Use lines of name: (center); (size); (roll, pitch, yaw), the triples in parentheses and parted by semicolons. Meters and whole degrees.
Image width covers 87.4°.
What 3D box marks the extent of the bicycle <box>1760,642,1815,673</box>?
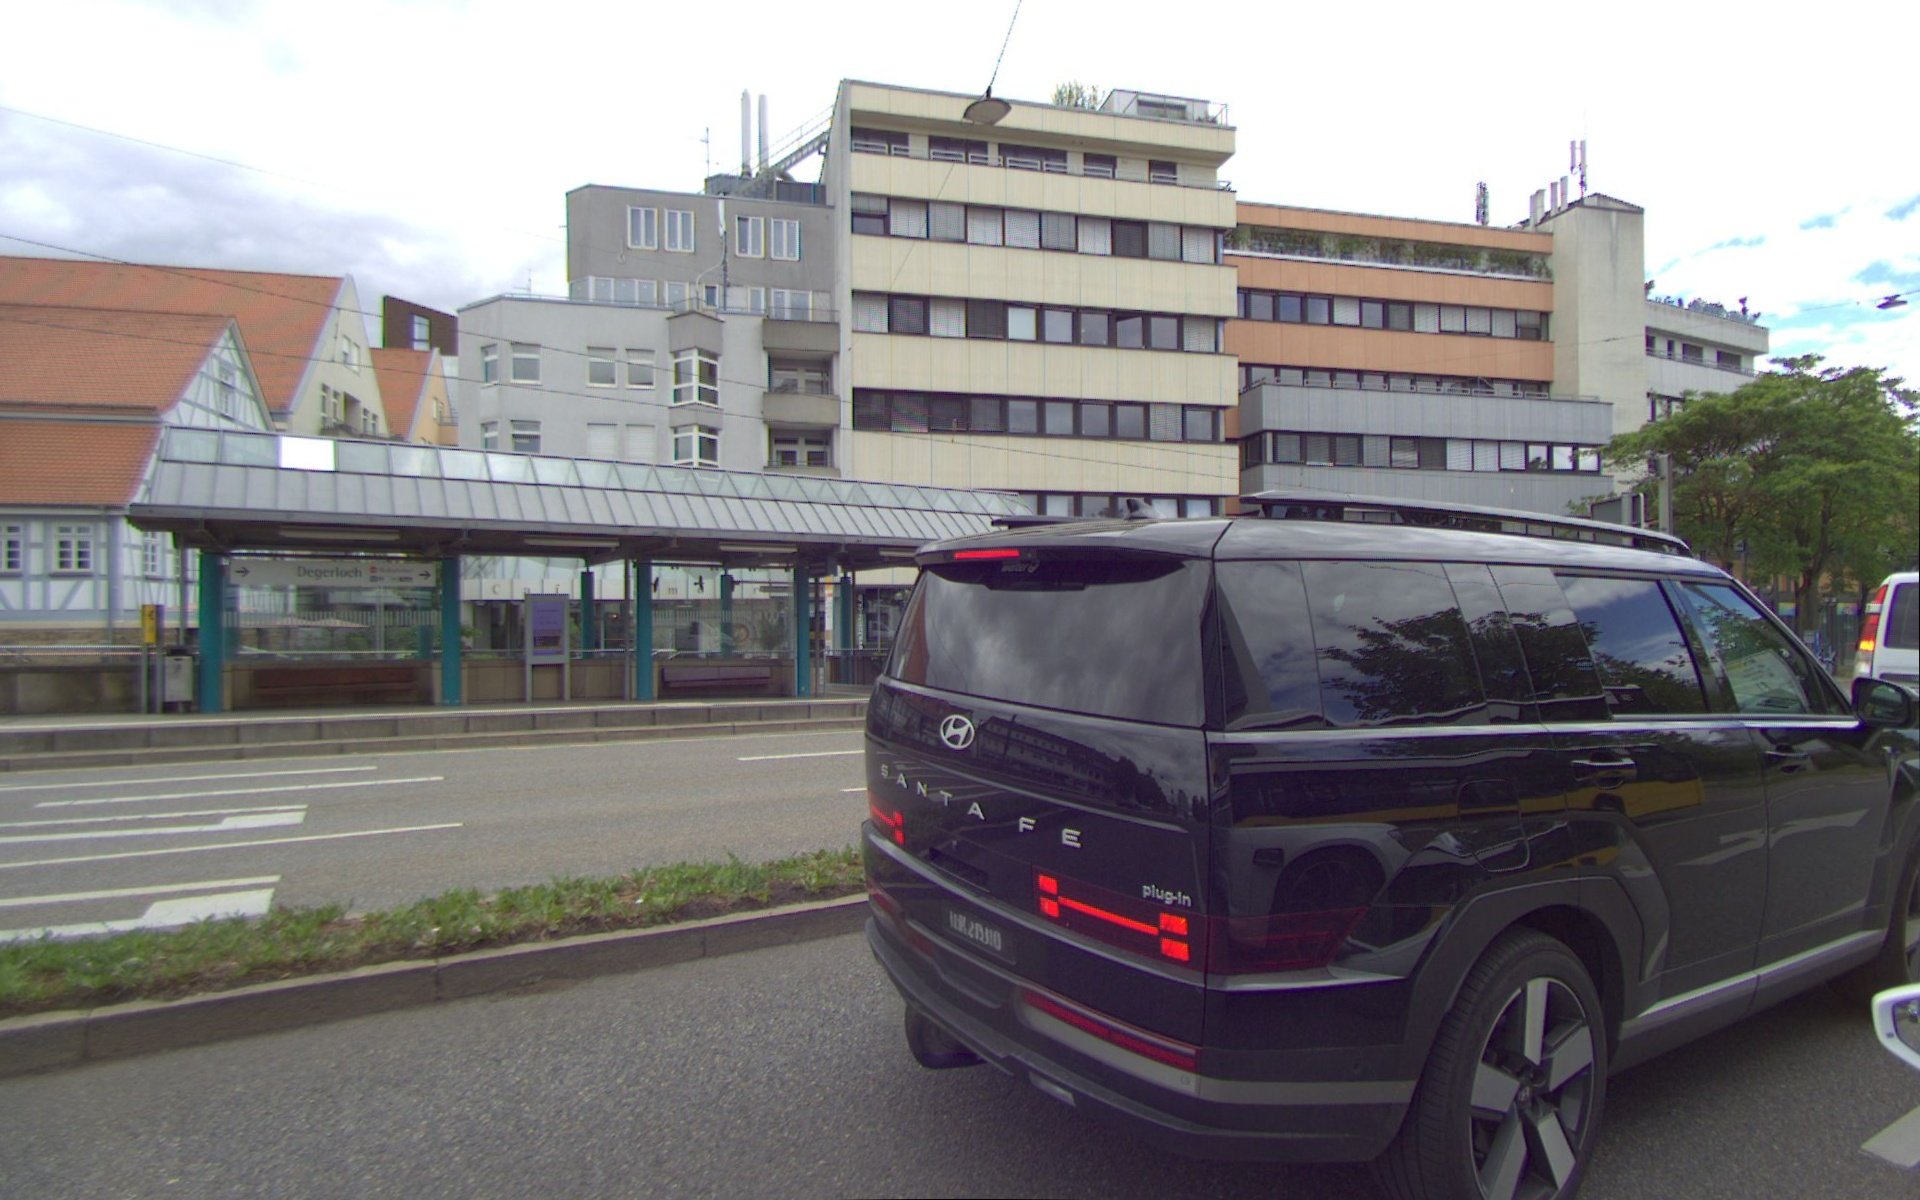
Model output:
bicycle: (34.358, 2.391, 41.712); (1.649, 1.270, 0.627); (0, -2, 12)

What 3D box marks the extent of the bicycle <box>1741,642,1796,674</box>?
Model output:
bicycle: (33.031, 2.365, 41.050); (1.649, 1.270, 0.627); (0, -2, 13)

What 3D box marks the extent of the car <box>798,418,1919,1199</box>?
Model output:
car: (1.932, 0.638, 3.725); (4.626, 1.775, 1.912); (2, -1, -32)

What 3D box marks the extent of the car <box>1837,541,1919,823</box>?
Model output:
car: (9.329, 0.636, 8.183); (5.018, 2.040, 1.864); (1, -1, -31)

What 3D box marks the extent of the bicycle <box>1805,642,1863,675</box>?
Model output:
bicycle: (35.273, 2.361, 40.573); (1.649, 1.270, 0.627); (0, -2, 12)

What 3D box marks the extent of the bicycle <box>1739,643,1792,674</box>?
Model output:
bicycle: (34.089, 2.478, 42.522); (1.649, 1.270, 0.627); (0, -2, 12)

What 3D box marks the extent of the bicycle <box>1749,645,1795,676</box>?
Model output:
bicycle: (33.728, 2.496, 41.730); (1.441, 1.270, 0.432); (0, -2, 14)
